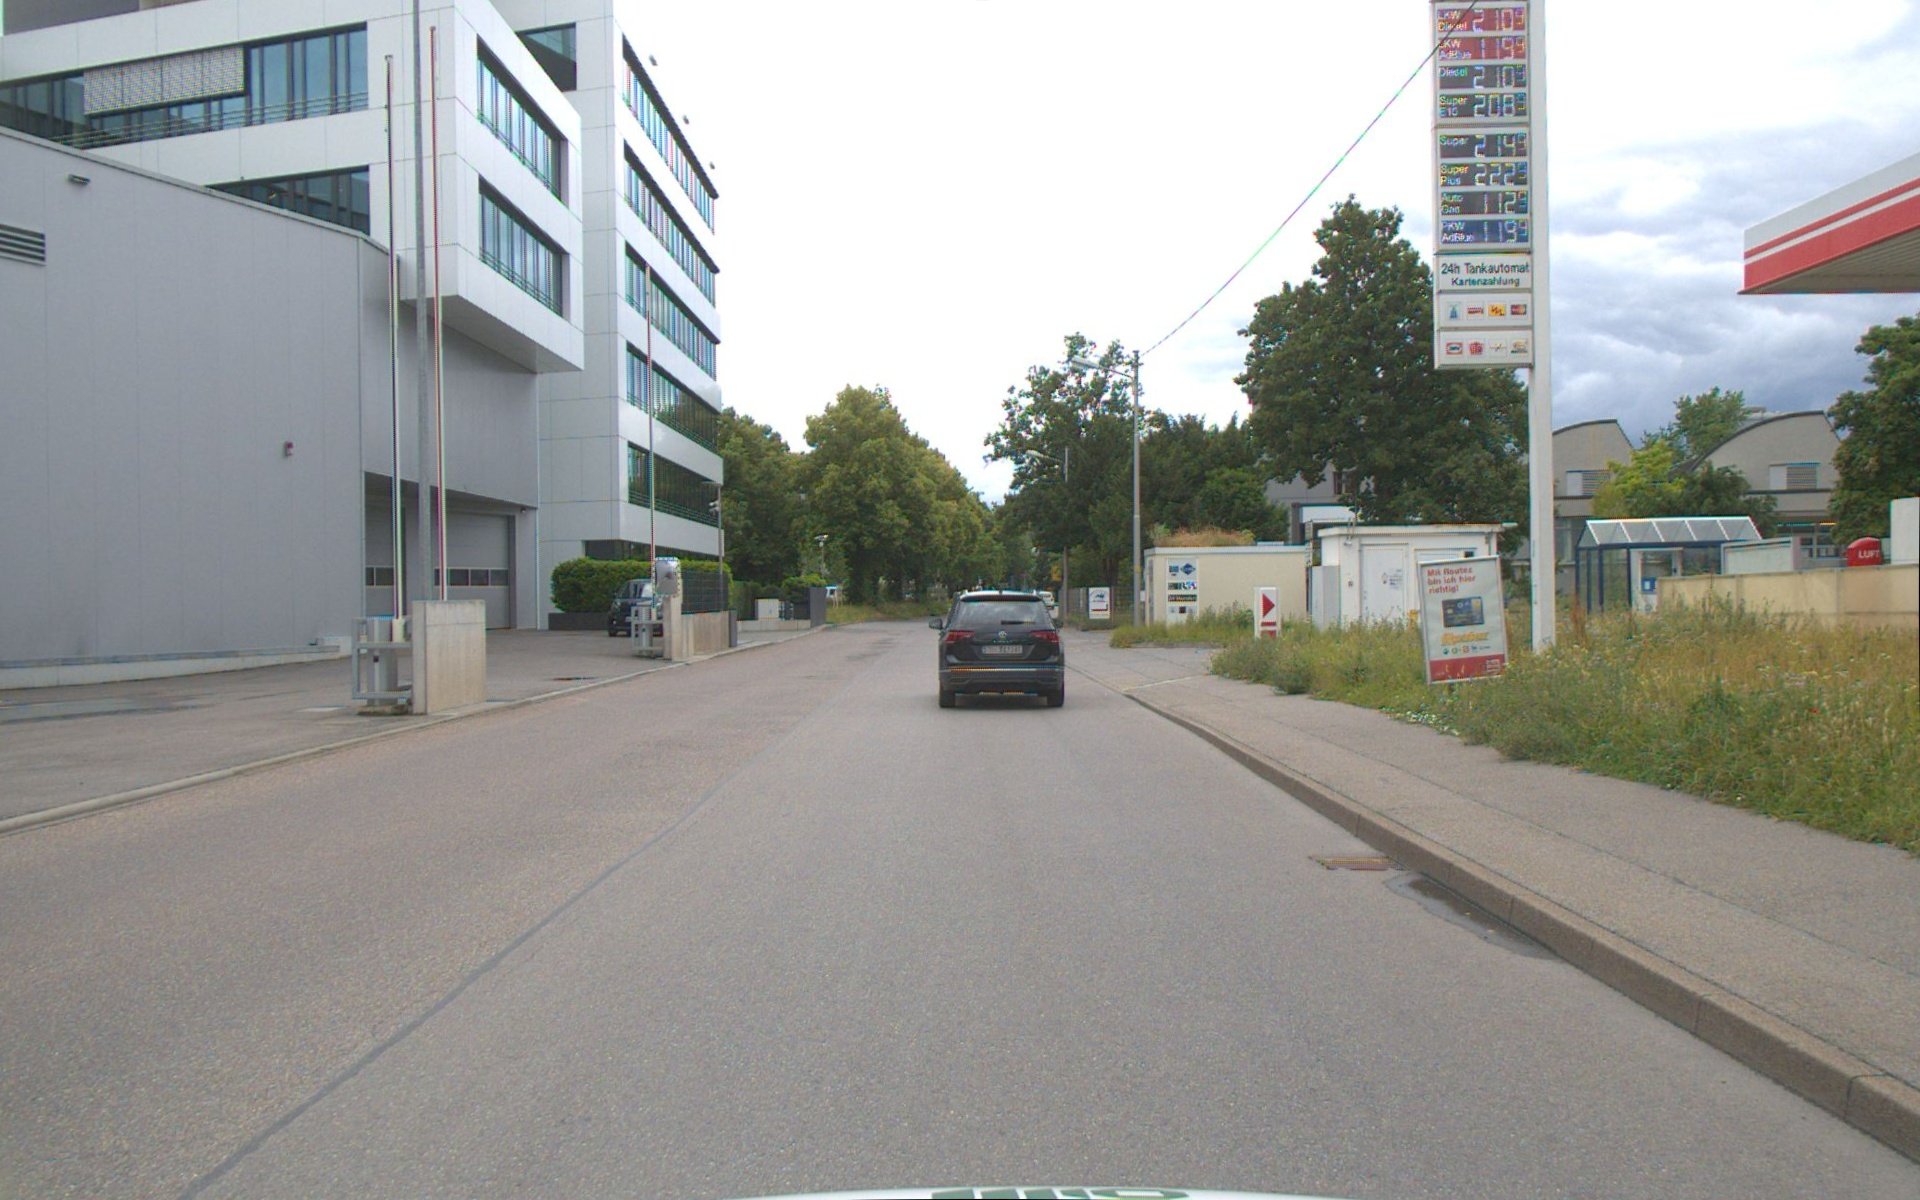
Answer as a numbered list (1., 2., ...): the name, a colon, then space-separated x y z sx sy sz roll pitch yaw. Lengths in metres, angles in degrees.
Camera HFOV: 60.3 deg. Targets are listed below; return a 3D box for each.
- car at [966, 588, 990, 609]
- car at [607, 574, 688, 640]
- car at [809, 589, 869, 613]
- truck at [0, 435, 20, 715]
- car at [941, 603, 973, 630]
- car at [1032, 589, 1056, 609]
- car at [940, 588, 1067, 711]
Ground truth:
1. car: 1.630 -0.126 146.824 1.769 1.795 4.208 0 0 5
2. car: -8.761 0.184 46.599 1.616 1.792 3.179 1 0 1
3. car: -12.591 0.111 171.926 5.944 2.429 2.395 -1 0 2
4. truck: -16.404 -0.325 21.627 2.685 4.101 7.094 0 1 20
5. car: -0.151 1.011 104.906 1.800 1.644 4.002 -1 0 3
6. car: 7.632 -0.071 149.802 1.951 1.818 4.002 0 0 5
7. car: 0.653 0.677 24.211 1.703 1.646 3.642 0 0 2
